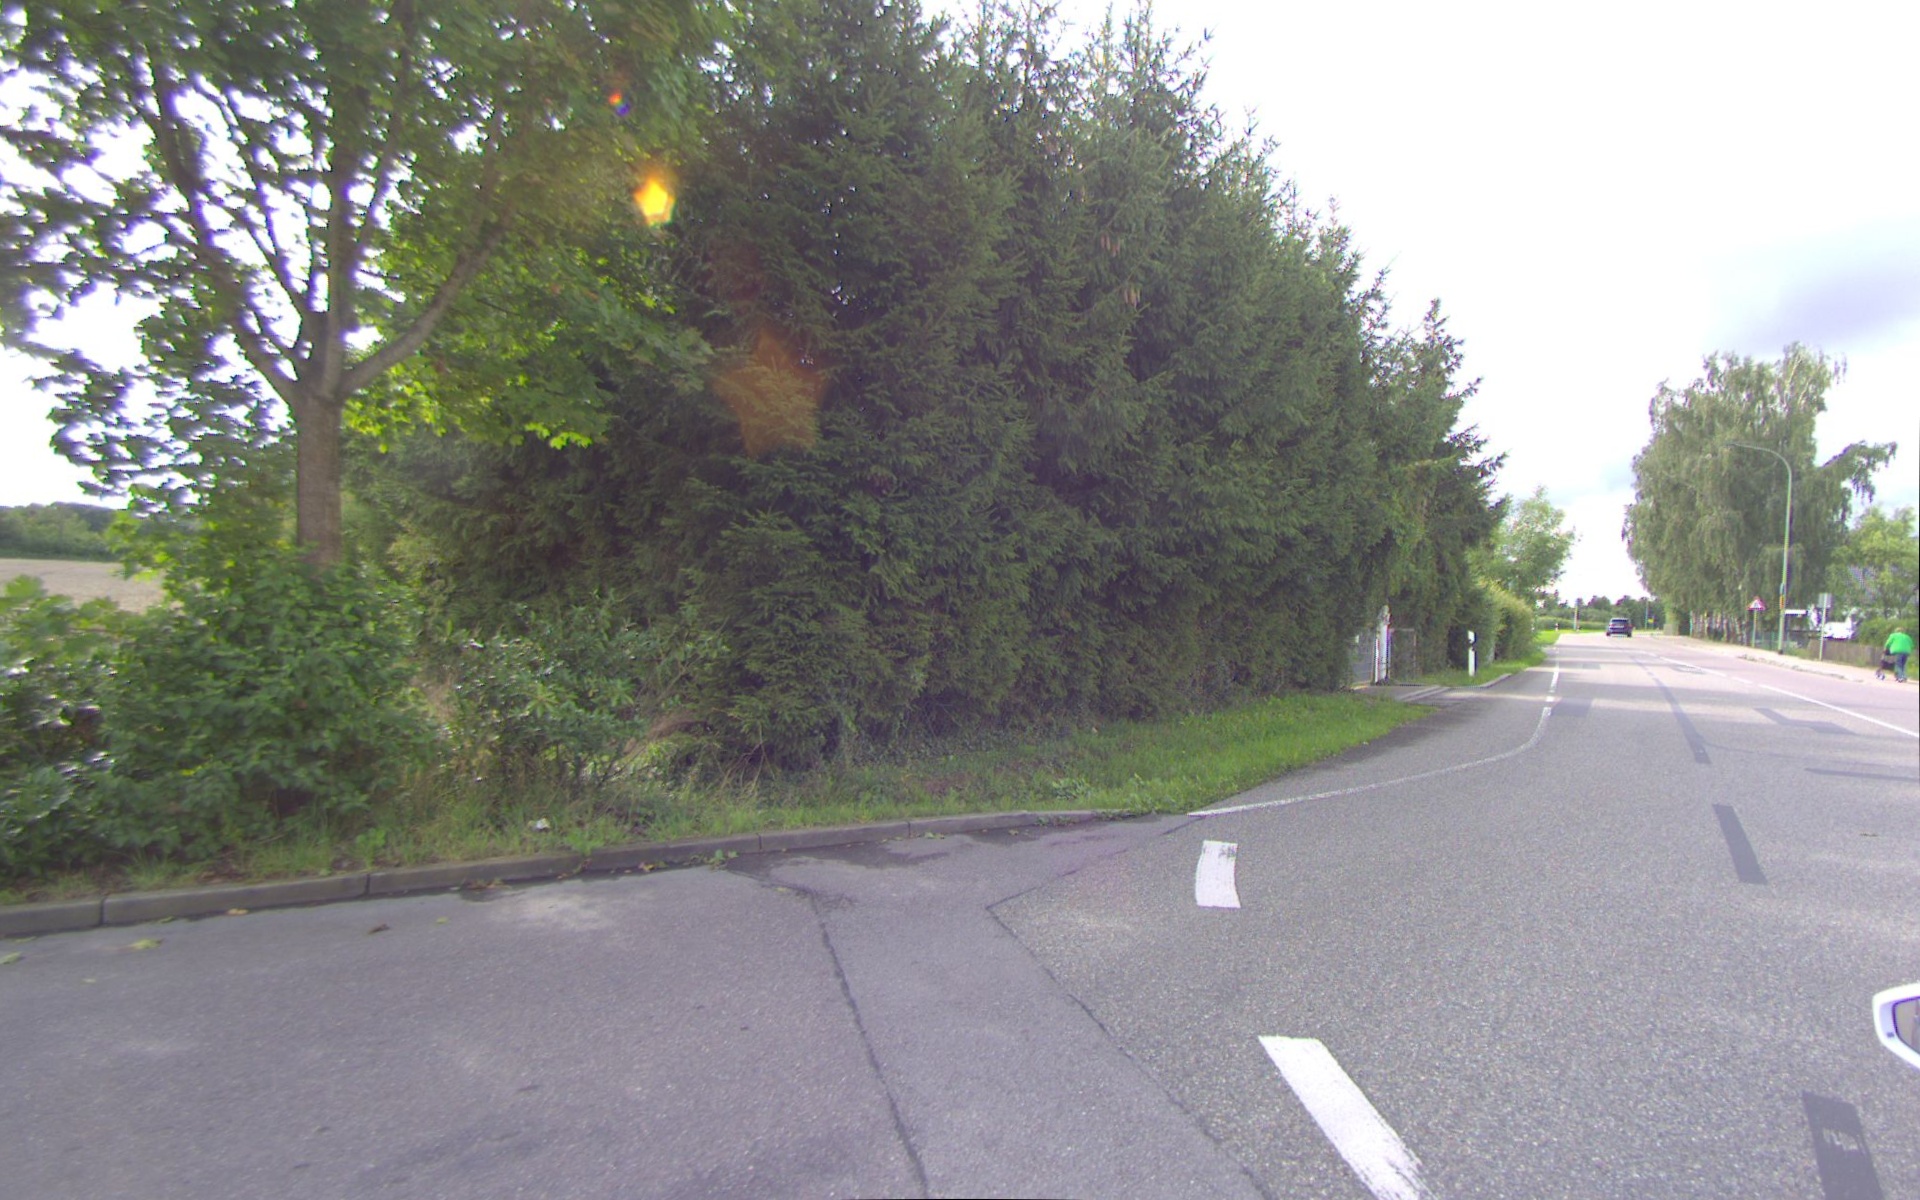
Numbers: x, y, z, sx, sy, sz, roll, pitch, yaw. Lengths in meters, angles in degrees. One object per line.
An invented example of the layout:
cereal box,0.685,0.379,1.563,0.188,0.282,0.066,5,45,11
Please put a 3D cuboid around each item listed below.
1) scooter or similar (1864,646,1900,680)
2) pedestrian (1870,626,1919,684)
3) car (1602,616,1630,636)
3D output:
scooter or similar,29.507,2.009,32.149,0.621,0.960,0.621,8,3,28
pedestrian,29.252,1.705,31.468,0.777,1.687,0.711,7,3,28
car,57.309,2.269,87.735,1.966,1.573,3.989,4,1,34
